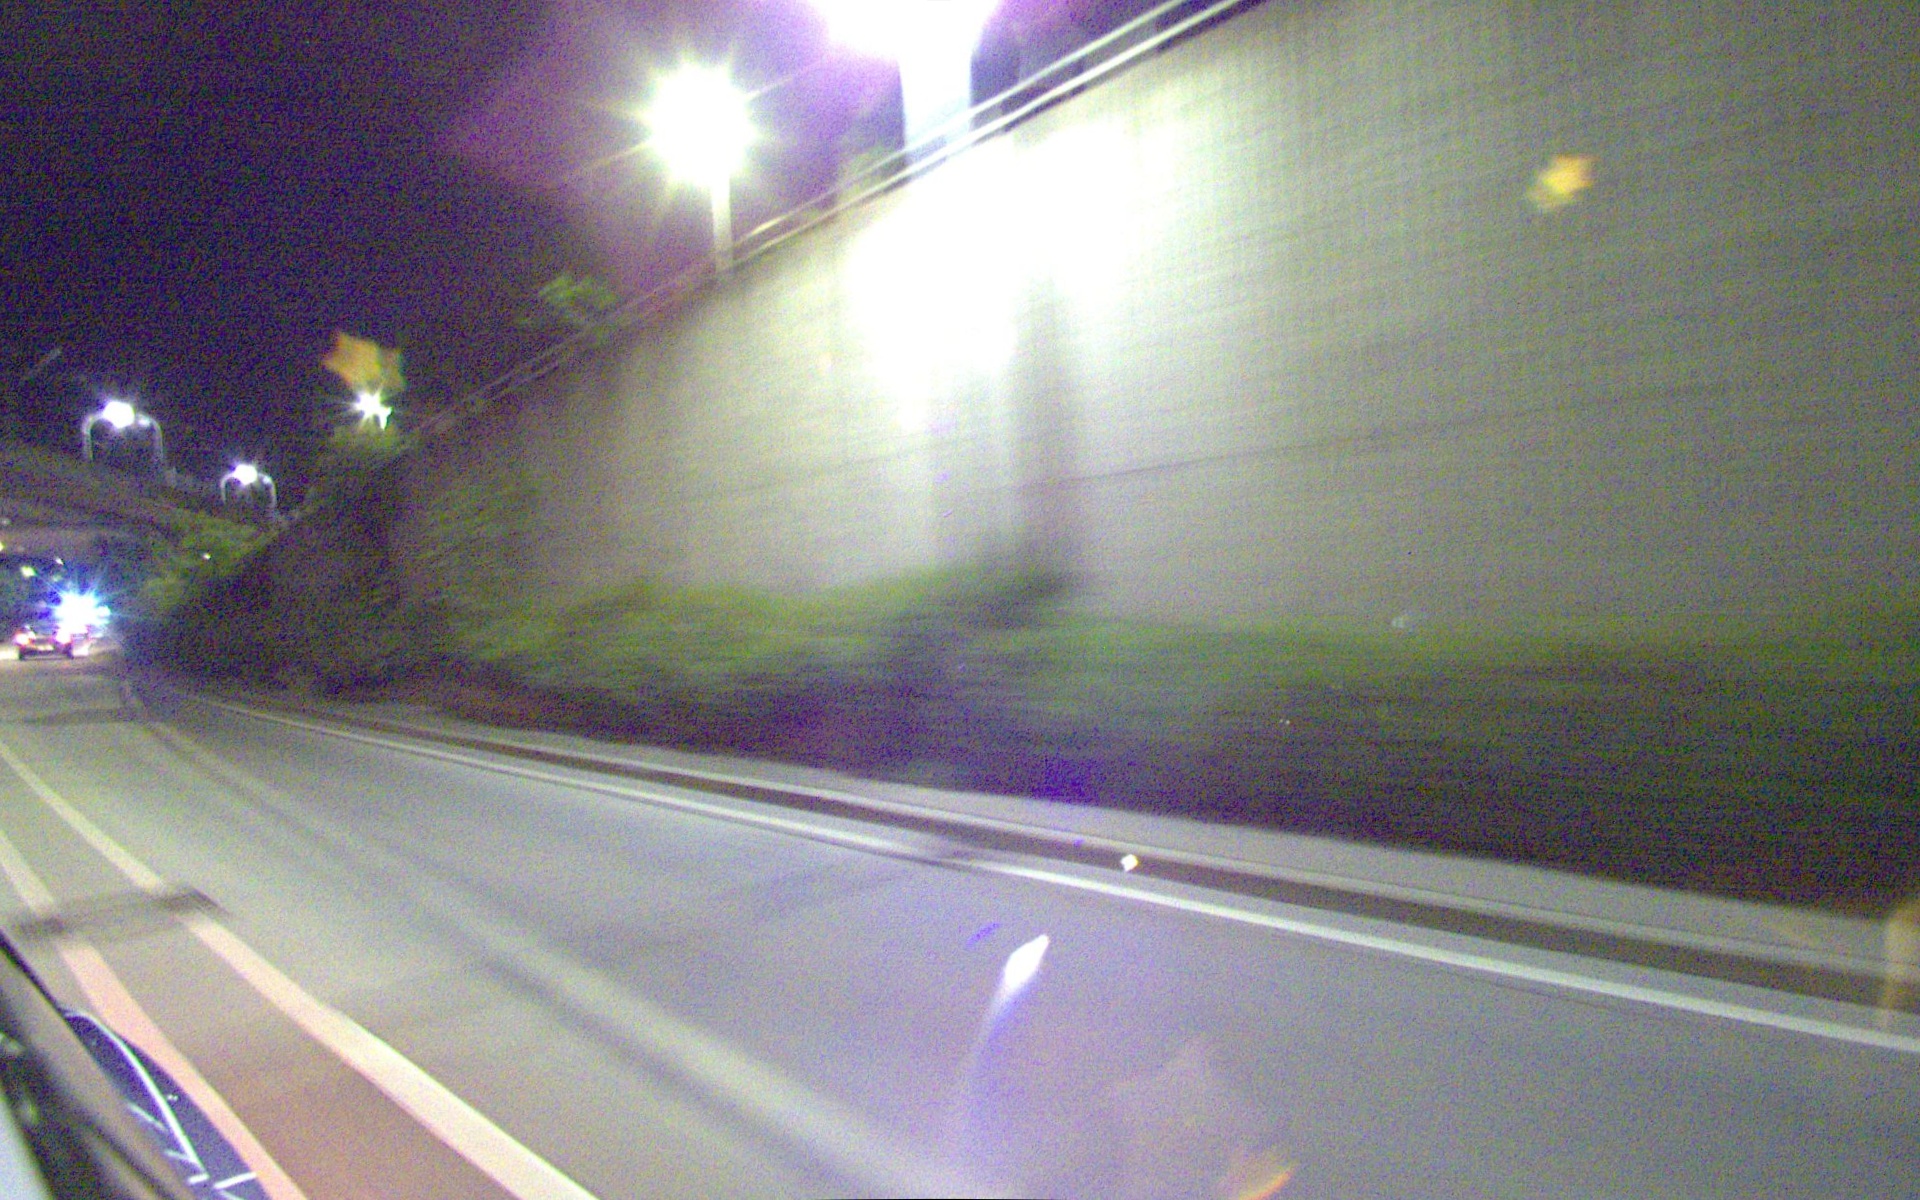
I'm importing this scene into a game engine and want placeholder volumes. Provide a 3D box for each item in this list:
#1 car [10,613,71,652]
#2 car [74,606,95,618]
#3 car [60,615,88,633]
[{"bbox_3d":[-39.264,1.329,43.187,1.837,1.521,4.004,-2,1,-43],"label":"car"},{"bbox_3d":[-125.139,1.697,144.678,1.857,1.566,4.228,-3,2,-35],"label":"car"},{"bbox_3d":[-83.344,2.241,95.235,1.765,1.458,4.180,-4,3,-39],"label":"car"}]
